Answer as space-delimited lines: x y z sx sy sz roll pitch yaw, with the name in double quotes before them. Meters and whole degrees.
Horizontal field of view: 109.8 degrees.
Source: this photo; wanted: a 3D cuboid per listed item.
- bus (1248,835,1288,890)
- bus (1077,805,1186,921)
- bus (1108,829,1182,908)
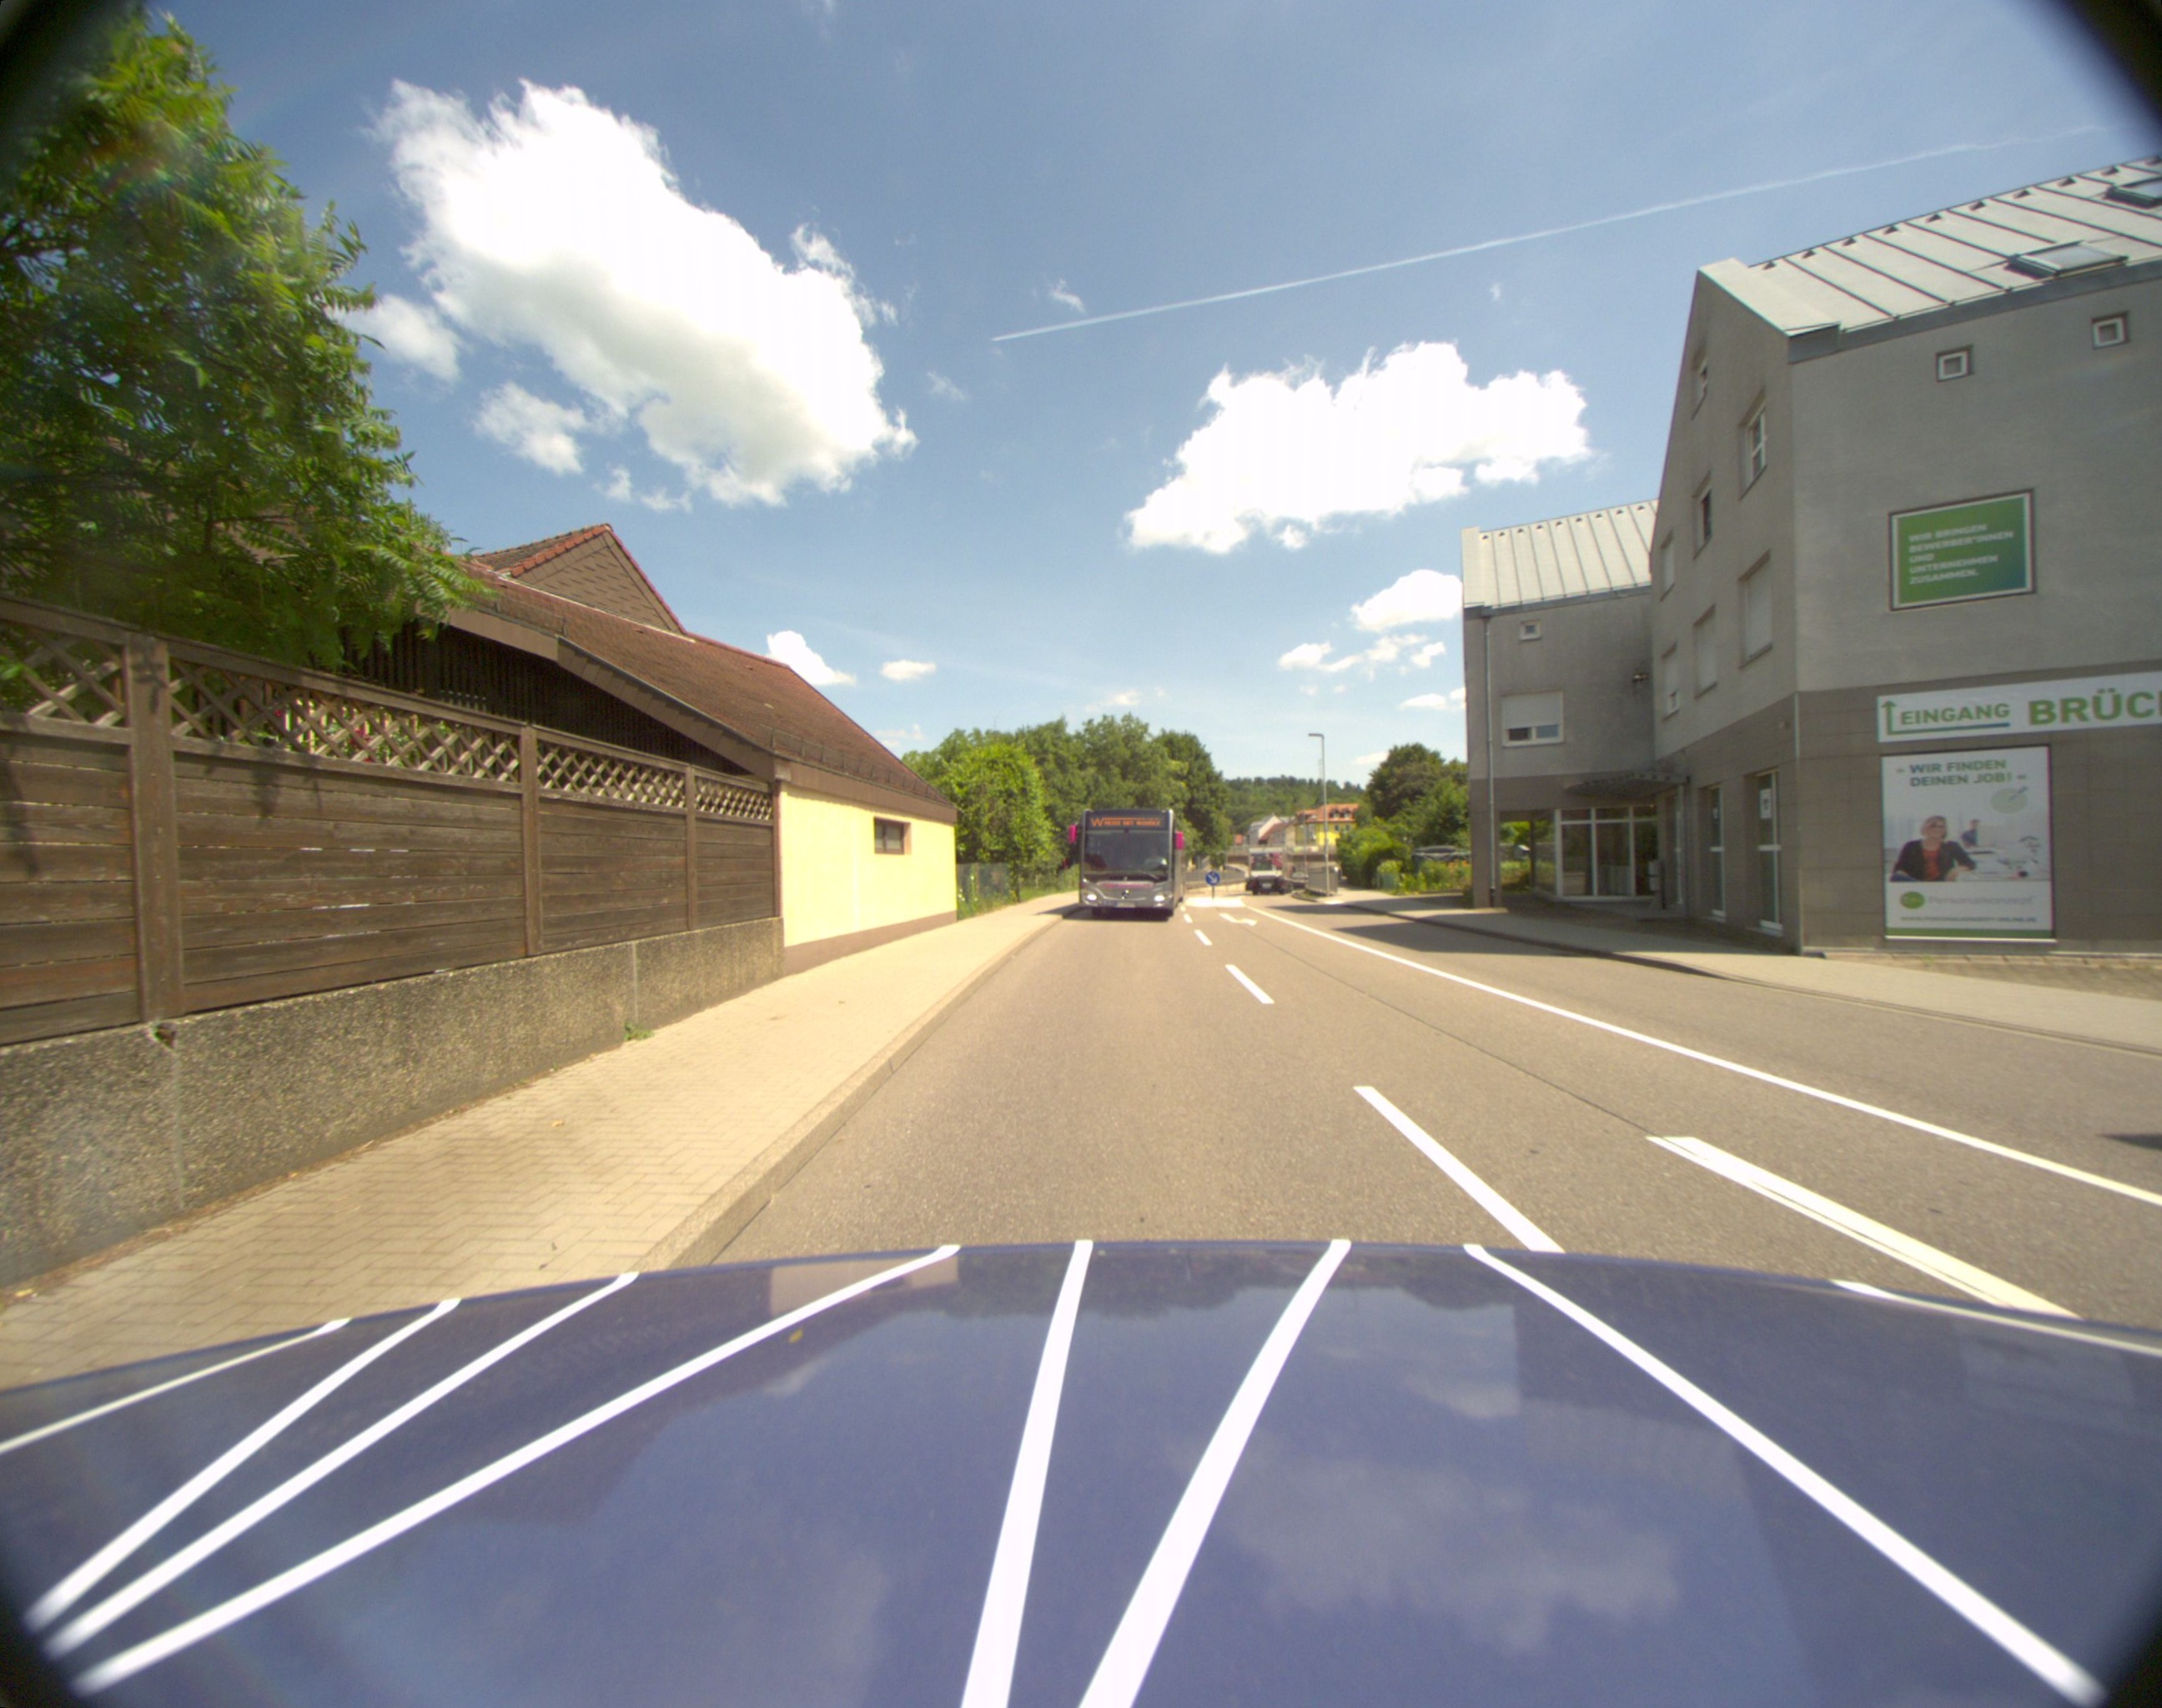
"bus" 15.098 0.816 61.472 2.815 3.977 10.982 -1 -2 13
"bus" 1.901 0.398 24.041 2.754 2.949 9.290 0 -2 8
"bus" 3.022 0.717 33.326 2.754 2.949 9.290 0 -2 8
